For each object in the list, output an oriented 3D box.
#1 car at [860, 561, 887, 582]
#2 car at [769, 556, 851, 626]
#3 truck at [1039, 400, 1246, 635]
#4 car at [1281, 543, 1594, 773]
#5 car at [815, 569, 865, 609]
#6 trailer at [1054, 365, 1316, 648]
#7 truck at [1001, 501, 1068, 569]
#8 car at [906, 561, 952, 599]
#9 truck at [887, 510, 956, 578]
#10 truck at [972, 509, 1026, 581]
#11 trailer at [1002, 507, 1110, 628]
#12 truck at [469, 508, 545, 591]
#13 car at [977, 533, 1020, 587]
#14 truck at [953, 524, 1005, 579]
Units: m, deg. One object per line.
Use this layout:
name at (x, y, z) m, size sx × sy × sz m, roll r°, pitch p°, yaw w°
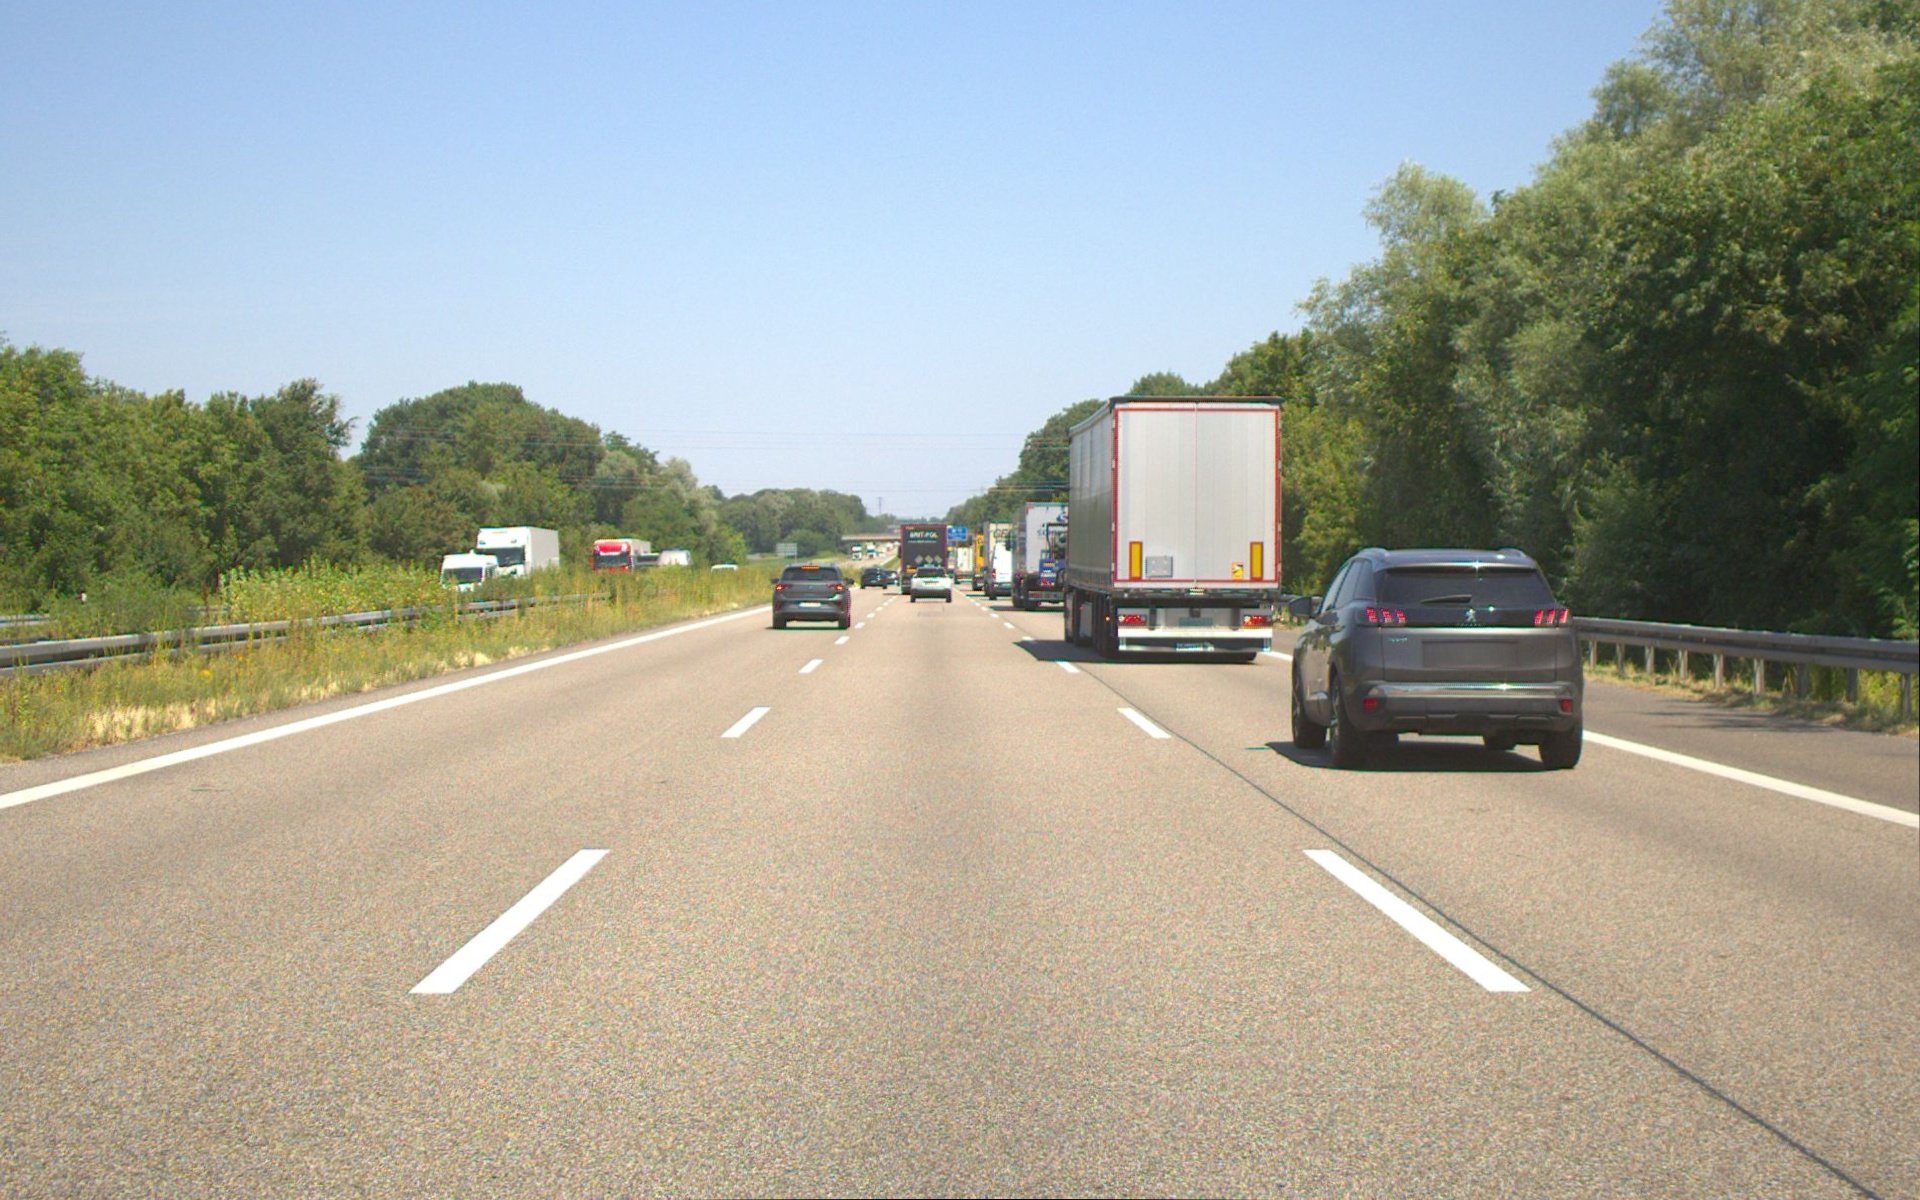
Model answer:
car at (-6.540, -2.156, 260.280) m, size 1.907 × 1.525 × 4.286 m, roll 1°, pitch 2°, yaw 0°
car at (-3.523, -0.233, 81.499) m, size 1.759 × 1.525 × 4.286 m, roll 1°, pitch 2°, yaw 0°
truck at (3.346, -1.490, 64.984) m, size 3.464 × 4.163 × 6.844 m, roll 1°, pitch 0°, yaw 0°
car at (3.616, 0.381, 26.718) m, size 1.845 × 1.623 × 4.135 m, roll 0°, pitch 1°, yaw 0°
car at (-4.898, -0.463, 141.010) m, size 1.900 × 1.525 × 4.084 m, roll 1°, pitch 2°, yaw 0°
trailer at (3.544, -1.478, 58.062) m, size 3.434 × 4.167 × 13.633 m, roll 1°, pitch 1°, yaw 0°
truck at (4.180, -3.699, 194.819) m, size 3.667 × 3.713 × 7.108 m, roll 1°, pitch 1°, yaw 1°
car at (-1.329, -0.869, 147.666) m, size 1.900 × 1.525 × 4.084 m, roll 1°, pitch 2°, yaw 0°
truck at (-2.152, -3.185, 194.620) m, size 3.667 × 3.713 × 7.108 m, roll 1°, pitch 1°, yaw 1°
truck at (2.102, -2.975, 184.260) m, size 2.792 × 3.713 × 7.108 m, roll 1°, pitch 1°, yaw 1°
trailer at (3.218, -1.189, 117.590) m, size 3.122 × 3.913 × 9.938 m, roll 1°, pitch 1°, yaw -1°
truck at (-22.949, -2.614, 174.495) m, size 3.071 × 4.097 × 6.526 m, roll 1°, pitch 1°, yaw -1°
car at (1.787, -1.878, 160.321) m, size 1.907 × 2.417 × 4.286 m, roll 1°, pitch 2°, yaw 0°
truck at (1.351, -3.405, 240.661) m, size 3.489 × 3.713 × 7.108 m, roll 1°, pitch 1°, yaw 1°
